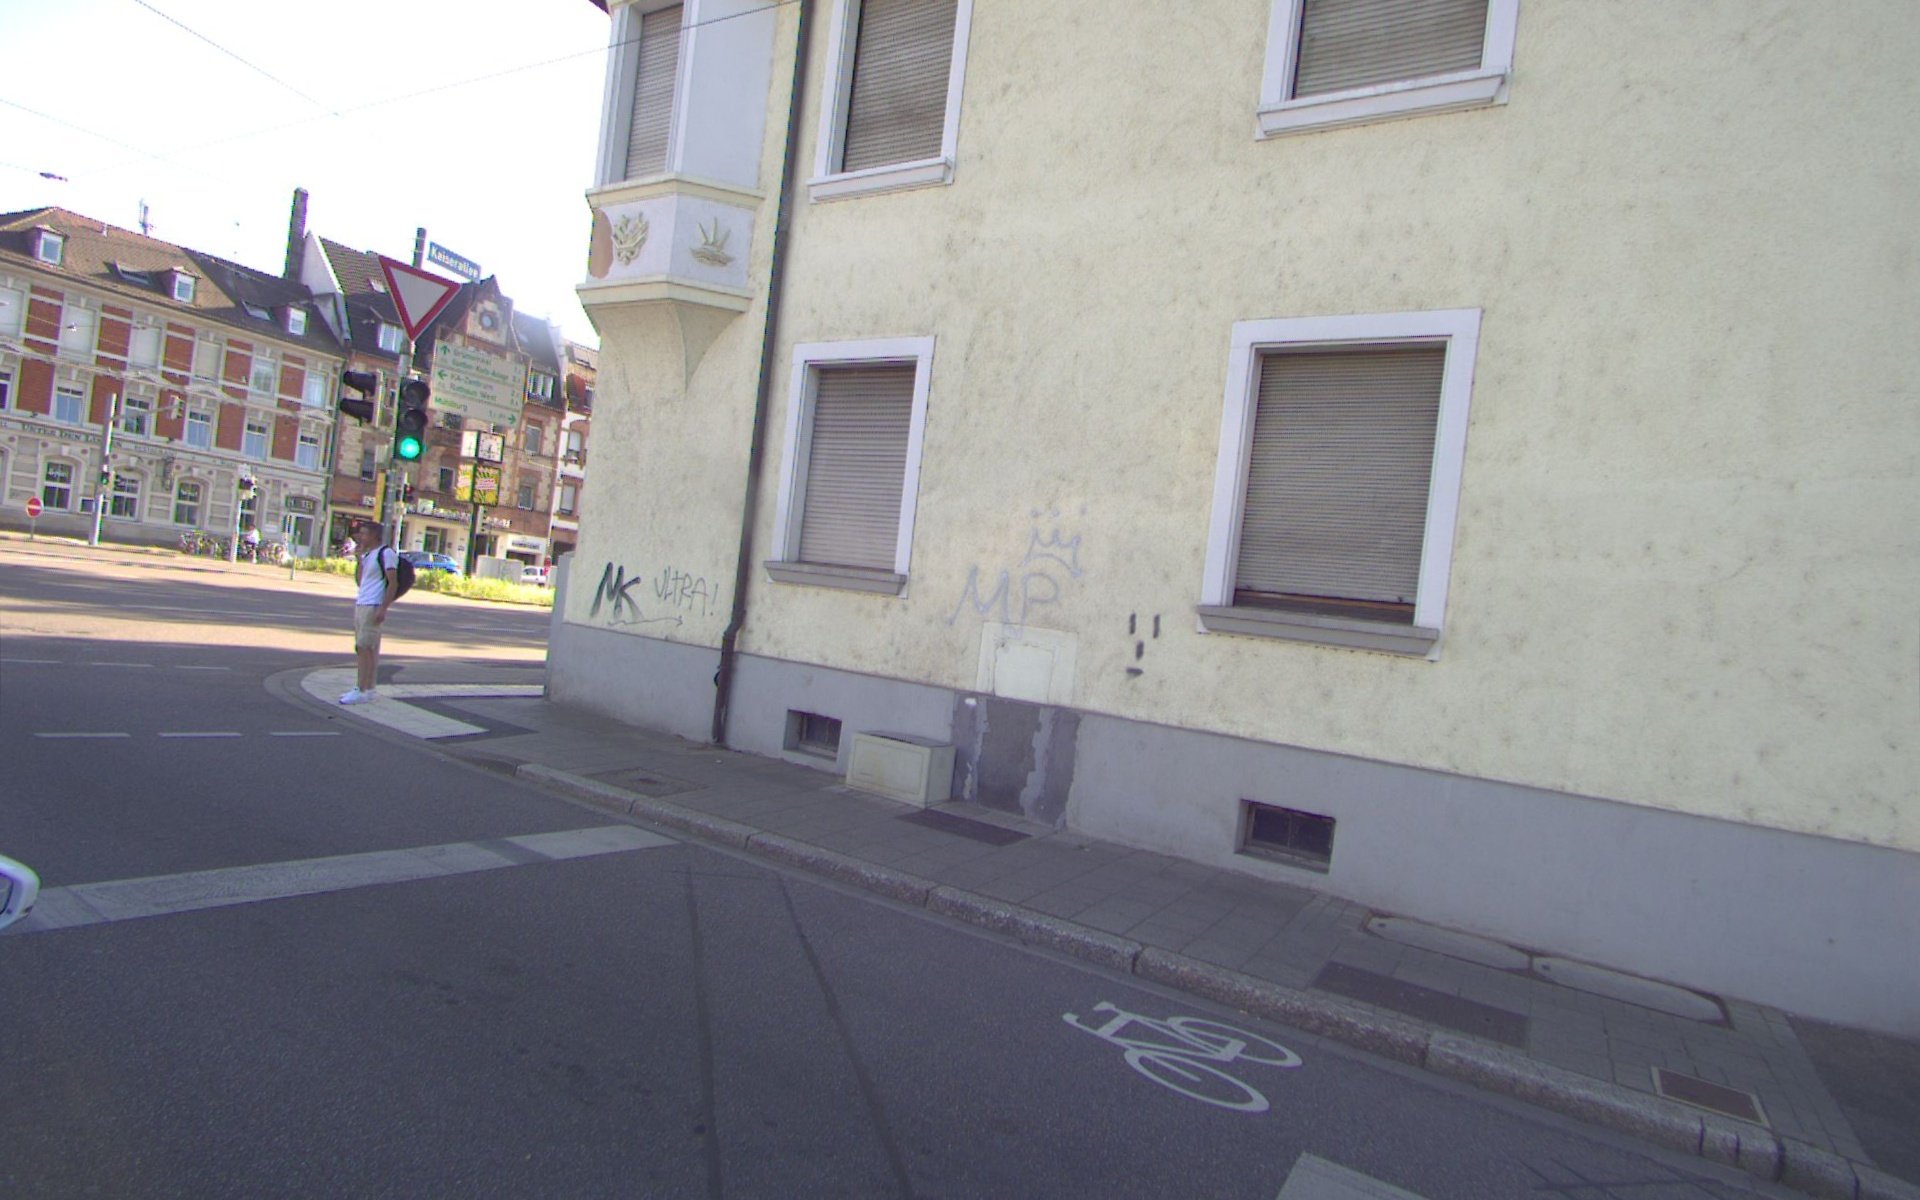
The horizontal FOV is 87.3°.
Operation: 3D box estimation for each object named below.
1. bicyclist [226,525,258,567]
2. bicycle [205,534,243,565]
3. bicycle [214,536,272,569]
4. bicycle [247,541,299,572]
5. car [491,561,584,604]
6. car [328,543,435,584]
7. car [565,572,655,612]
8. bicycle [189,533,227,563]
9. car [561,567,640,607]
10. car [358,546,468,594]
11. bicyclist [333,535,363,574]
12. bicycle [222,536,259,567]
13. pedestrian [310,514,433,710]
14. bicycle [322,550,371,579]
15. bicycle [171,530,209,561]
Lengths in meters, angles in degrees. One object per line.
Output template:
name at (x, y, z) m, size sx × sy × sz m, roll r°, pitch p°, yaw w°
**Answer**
bicyclist at (-32.393, -2.431, 45.407) m, size 0.592 × 1.785 × 0.873 m, roll 7°, pitch 0°, yaw 34°
bicycle at (-34.202, -2.351, 46.744) m, size 1.935 × 1.205 × 0.678 m, roll 7°, pitch 0°, yaw 33°
bicycle at (-32.398, -2.145, 45.460) m, size 0.592 × 1.205 × 1.962 m, roll 7°, pitch -1°, yaw 34°
bicycle at (-32.879, -2.084, 48.169) m, size 0.667 × 1.205 × 1.968 m, roll 7°, pitch -1°, yaw 20°
car at (-21.918, -0.892, 52.336) m, size 1.922 × 1.688 × 3.993 m, roll 7°, pitch -1°, yaw 31°
car at (-27.826, -1.733, 48.470) m, size 1.815 × 1.429 × 3.993 m, roll 7°, pitch -1°, yaw 31°
car at (-19.550, -0.405, 56.347) m, size 1.922 × 1.687 × 4.480 m, roll 7°, pitch -1°, yaw 31°
bicycle at (-34.542, -2.389, 46.189) m, size 1.935 × 1.205 × 0.678 m, roll 7°, pitch 0°, yaw 33°
car at (-23.236, -0.830, 65.187) m, size 1.922 × 1.988 × 4.411 m, roll 7°, pitch -1°, yaw 31°
car at (-25.401, -1.373, 46.833) m, size 1.922 × 1.688 × 3.993 m, roll 7°, pitch -1°, yaw 31°
bicyclist at (-30.239, -2.240, 49.720) m, size 0.591 × 1.785 × 0.905 m, roll 7°, pitch 0°, yaw 27°
bicycle at (-33.846, -2.284, 47.317) m, size 1.935 × 1.205 × 0.678 m, roll 7°, pitch 0°, yaw 33°
pedestrian at (-5.623, 0.110, 9.641) m, size 0.661 × 1.764 × 0.689 m, roll 5°, pitch 2°, yaw 4°
bicycle at (-30.301, -1.755, 49.719) m, size 0.591 × 1.205 × 1.966 m, roll 7°, pitch -1°, yaw 27°
bicycle at (-34.882, -2.474, 45.575) m, size 1.935 × 1.205 × 0.678 m, roll 7°, pitch 0°, yaw 33°
